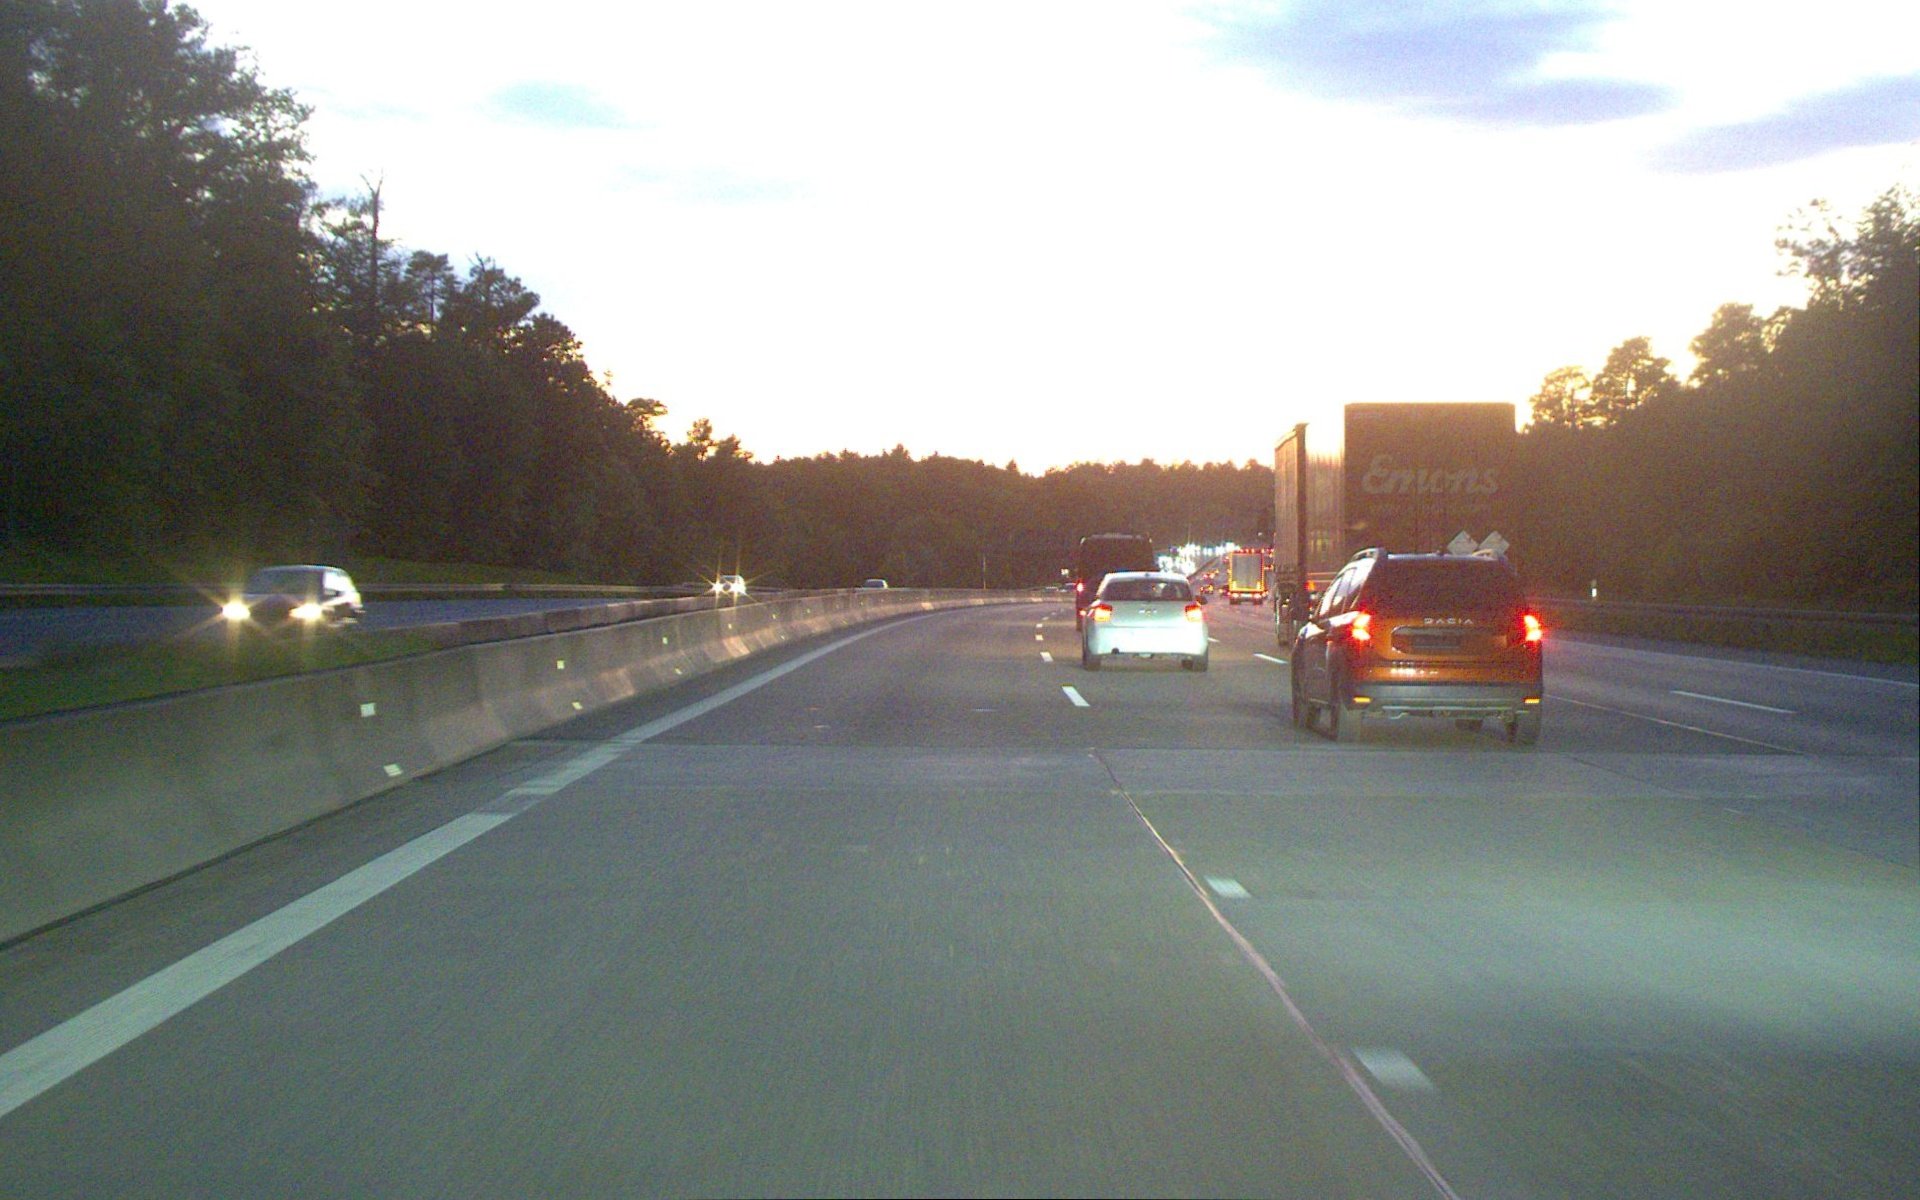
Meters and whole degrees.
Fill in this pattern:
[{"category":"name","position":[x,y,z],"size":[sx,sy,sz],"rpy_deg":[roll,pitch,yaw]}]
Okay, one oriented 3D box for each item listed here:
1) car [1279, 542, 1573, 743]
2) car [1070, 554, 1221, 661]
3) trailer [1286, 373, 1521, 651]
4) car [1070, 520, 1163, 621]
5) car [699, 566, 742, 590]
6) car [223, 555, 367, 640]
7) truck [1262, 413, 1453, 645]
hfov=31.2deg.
[{"category":"car","position":[4.055,0.313,30.694],"size":[1.903,1.638,5.052],"rpy_deg":[0,1,0]},{"category":"car","position":[2.685,0.082,50.519],"size":[1.859,1.437,3.721],"rpy_deg":[0,2,-3]},{"category":"trailer","position":[7.026,-1.307,55.876],"size":[2.907,4.086,10.356],"rpy_deg":[1,0,3]},{"category":"car","position":[3.918,-0.708,85.330],"size":[2.166,2.410,5.563],"rpy_deg":[0,0,4]},{"category":"car","position":[-15.278,-1.402,219.392],"size":[1.843,1.458,3.999],"rpy_deg":[2,1,9]},{"category":"car","position":[-11.413,-0.062,59.241],"size":[1.618,1.401,4.315],"rpy_deg":[0,1,0]},{"category":"truck","position":[7.521,-1.269,66.413],"size":[2.885,4.086,10.830],"rpy_deg":[1,0,3]}]
